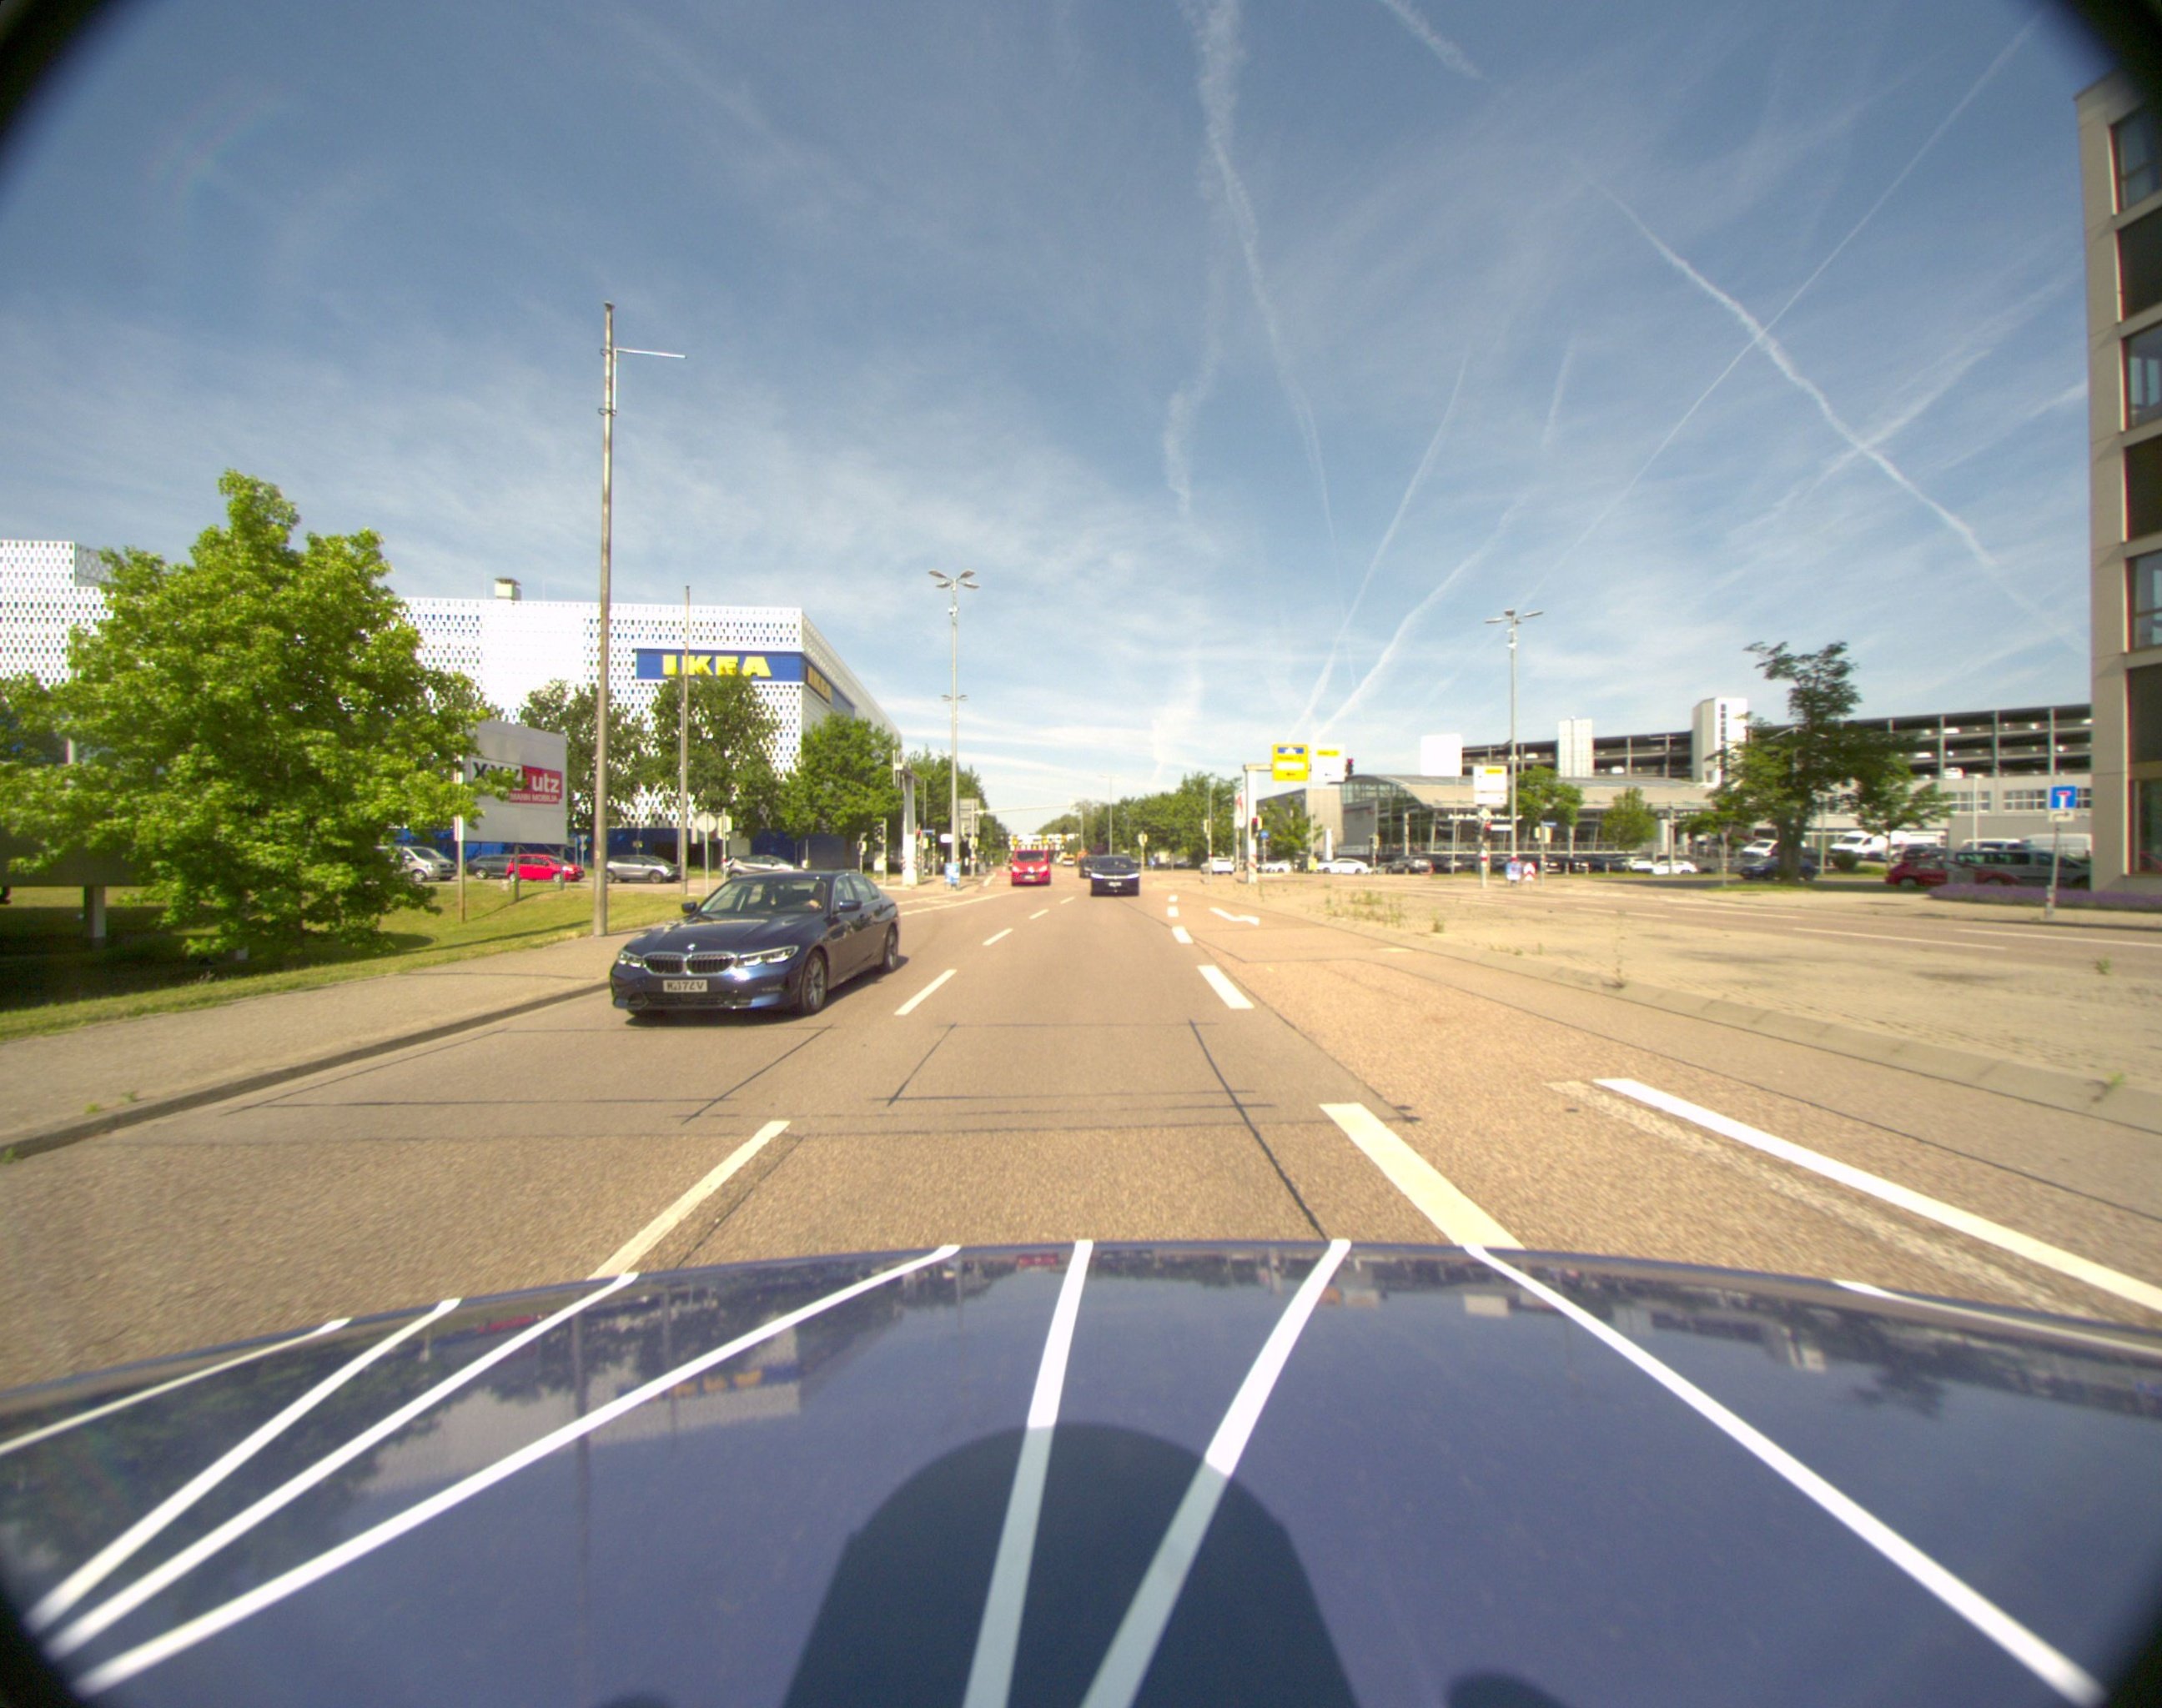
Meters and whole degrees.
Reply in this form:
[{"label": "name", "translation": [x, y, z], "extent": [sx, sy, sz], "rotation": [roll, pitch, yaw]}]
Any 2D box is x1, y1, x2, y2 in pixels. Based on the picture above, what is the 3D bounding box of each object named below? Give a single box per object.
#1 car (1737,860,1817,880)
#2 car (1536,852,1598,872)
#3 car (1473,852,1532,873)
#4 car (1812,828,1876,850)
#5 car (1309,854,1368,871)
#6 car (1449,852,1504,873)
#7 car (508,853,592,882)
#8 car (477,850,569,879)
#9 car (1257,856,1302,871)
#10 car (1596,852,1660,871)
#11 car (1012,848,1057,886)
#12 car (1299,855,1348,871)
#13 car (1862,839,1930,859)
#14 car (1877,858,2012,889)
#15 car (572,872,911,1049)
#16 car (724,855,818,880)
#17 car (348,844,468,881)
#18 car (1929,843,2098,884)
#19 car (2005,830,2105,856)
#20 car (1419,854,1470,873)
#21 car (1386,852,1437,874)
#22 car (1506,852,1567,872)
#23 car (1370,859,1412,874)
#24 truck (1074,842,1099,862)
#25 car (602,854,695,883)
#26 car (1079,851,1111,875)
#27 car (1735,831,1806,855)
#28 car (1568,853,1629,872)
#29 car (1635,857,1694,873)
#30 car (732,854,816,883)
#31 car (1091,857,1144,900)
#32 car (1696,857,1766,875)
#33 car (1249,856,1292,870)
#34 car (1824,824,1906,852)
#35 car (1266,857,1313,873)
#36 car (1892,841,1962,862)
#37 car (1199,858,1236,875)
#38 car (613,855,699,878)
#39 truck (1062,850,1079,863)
[{"label": "car", "translation": [46.549, 1.062, 50.864], "extent": [3.802, 1.282, 1.659], "rotation": [0, 0, -1]}, {"label": "car", "translation": [40.190, 0.697, 62.964], "extent": [1.793, 1.433, 4.631], "rotation": [0, -3, -6]}, {"label": "car", "translation": [34.728, 0.727, 62.733], "extent": [1.793, 1.496, 4.776], "rotation": [0, -3, -6]}, {"label": "car", "translation": [78.544, -1.521, 78.210], "extent": [4.689, 2.265, 2.158], "rotation": [0, 0, -5]}, {"label": "car", "translation": [22.114, 0.686, 65.355], "extent": [4.385, 1.424, 1.899], "rotation": [0, 0, -4]}, {"label": "car", "translation": [32.234, 0.713, 62.071], "extent": [1.793, 1.534, 4.375], "rotation": [0, -3, -6]}, {"label": "car", "translation": [-29.301, 0.734, 42.023], "extent": [3.479, 1.566, 1.598], "rotation": [0, 0, -1]}, {"label": "car", "translation": [-32.866, 0.602, 44.829], "extent": [4.128, 1.610, 1.683], "rotation": [-1, 1, 0]}, {"label": "car", "translation": [20.471, 0.988, 78.370], "extent": [3.999, 1.311, 1.867], "rotation": [2, 0, -6]}, {"label": "car", "translation": [45.625, 0.665, 63.505], "extent": [1.793, 1.433, 4.558], "rotation": [0, -2, -6]}, {"label": "car", "translation": [-2.441, 0.654, 40.896], "extent": [2.014, 1.896, 4.810], "rotation": [-1, 0, 2]}, {"label": "car", "translation": [21.621, 0.760, 67.811], "extent": [3.846, 1.394, 1.763], "rotation": [0, 0, -7]}, {"label": "car", "translation": [70.857, -0.423, 66.121], "extent": [3.984, 1.565, 1.999], "rotation": [-2, 0, -5]}, {"label": "car", "translation": [40.360, 0.895, 35.668], "extent": [4.019, 1.407, 1.812], "rotation": [-1, -1, 42]}, {"label": "car", "translation": [-3.425, 0.975, 8.794], "extent": [1.800, 1.420, 4.538], "rotation": [0, 0, 1]}, {"label": "car", "translation": [-18.300, 0.795, 45.019], "extent": [4.729, 1.417, 1.958], "rotation": [0, 1, -2]}, {"label": "car", "translation": [-36.807, 0.448, 41.655], "extent": [4.687, 1.965, 1.962], "rotation": [0, 2, -2]}, {"label": "car", "translation": [43.951, 0.476, 36.020], "extent": [4.800, 1.810, 1.902], "rotation": [-1, -1, 41]}, {"label": "car", "translation": [80.952, -0.869, 63.249], "extent": [2.000, 2.002, 4.748], "rotation": [0, 0, -7]}, {"label": "car", "translation": [29.432, 0.816, 61.683], "extent": [1.793, 1.433, 4.200], "rotation": [0, -3, -6]}, {"label": "car", "translation": [26.734, 0.744, 61.708], "extent": [1.819, 1.603, 4.595], "rotation": [0, -3, -5]}, {"label": "car", "translation": [37.583, 0.666, 62.839], "extent": [1.783, 1.507, 4.673], "rotation": [0, -2, -6]}, {"label": "car", "translation": [31.383, 1.279, 76.981], "extent": [3.518, 1.464, 1.659], "rotation": [-1, 0, -7]}, {"label": "truck", "translation": [0.952, -0.367, 141.060], "extent": [2.757, 3.658, 7.569], "rotation": [0, 0, -15]}, {"label": "car", "translation": [-23.913, 0.800, 42.114], "extent": [4.039, 1.500, 1.908], "rotation": [0, 1, -3]}, {"label": "car", "translation": [0.887, 0.566, 50.005], "extent": [1.561, 1.500, 3.837], "rotation": [-2, 0, -6]}, {"label": "car", "translation": [59.593, -0.981, 65.724], "extent": [4.547, 1.898, 2.086], "rotation": [-1, 4, -8]}, {"label": "car", "translation": [42.927, 0.718, 63.147], "extent": [1.793, 1.433, 4.401], "rotation": [0, -2, -6]}, {"label": "car", "translation": [53.590, 0.954, 69.844], "extent": [4.017, 1.433, 1.801], "rotation": [0, 0, 23]}, {"label": "car", "translation": [-16.952, 0.787, 42.038], "extent": [3.895, 1.549, 1.808], "rotation": [-1, 0, -1]}, {"label": "car", "translation": [1.371, 0.914, 29.867], "extent": [1.848, 1.530, 4.000], "rotation": [1, 0, -1]}, {"label": "car", "translation": [53.927, 0.973, 63.132], "extent": [4.018, 1.433, 1.800], "rotation": [0, 0, 21]}, {"label": "car", "translation": [20.159, 0.959, 80.921], "extent": [3.999, 1.311, 1.837], "rotation": [2, 0, -5]}, {"label": "car", "translation": [70.697, -1.405, 68.565], "extent": [5.549, 2.328, 2.088], "rotation": [-1, 0, -5]}, {"label": "car", "translation": [20.786, 1.086, 75.763], "extent": [4.085, 1.362, 1.877], "rotation": [2, 0, -6]}, {"label": "car", "translation": [70.768, -0.217, 63.564], "extent": [3.985, 1.565, 1.999], "rotation": [-2, 0, -8]}, {"label": "car", "translation": [11.658, 1.048, 65.211], "extent": [1.788, 1.452, 4.330], "rotation": [1, 0, -9]}, {"label": "car", "translation": [-25.162, 0.725, 45.086], "extent": [4.055, 1.334, 1.723], "rotation": [-1, 1, -3]}, {"label": "truck", "translation": [-2.251, 0.561, 161.182], "extent": [2.383, 2.609, 6.667], "rotation": [-1, 0, -11]}]
